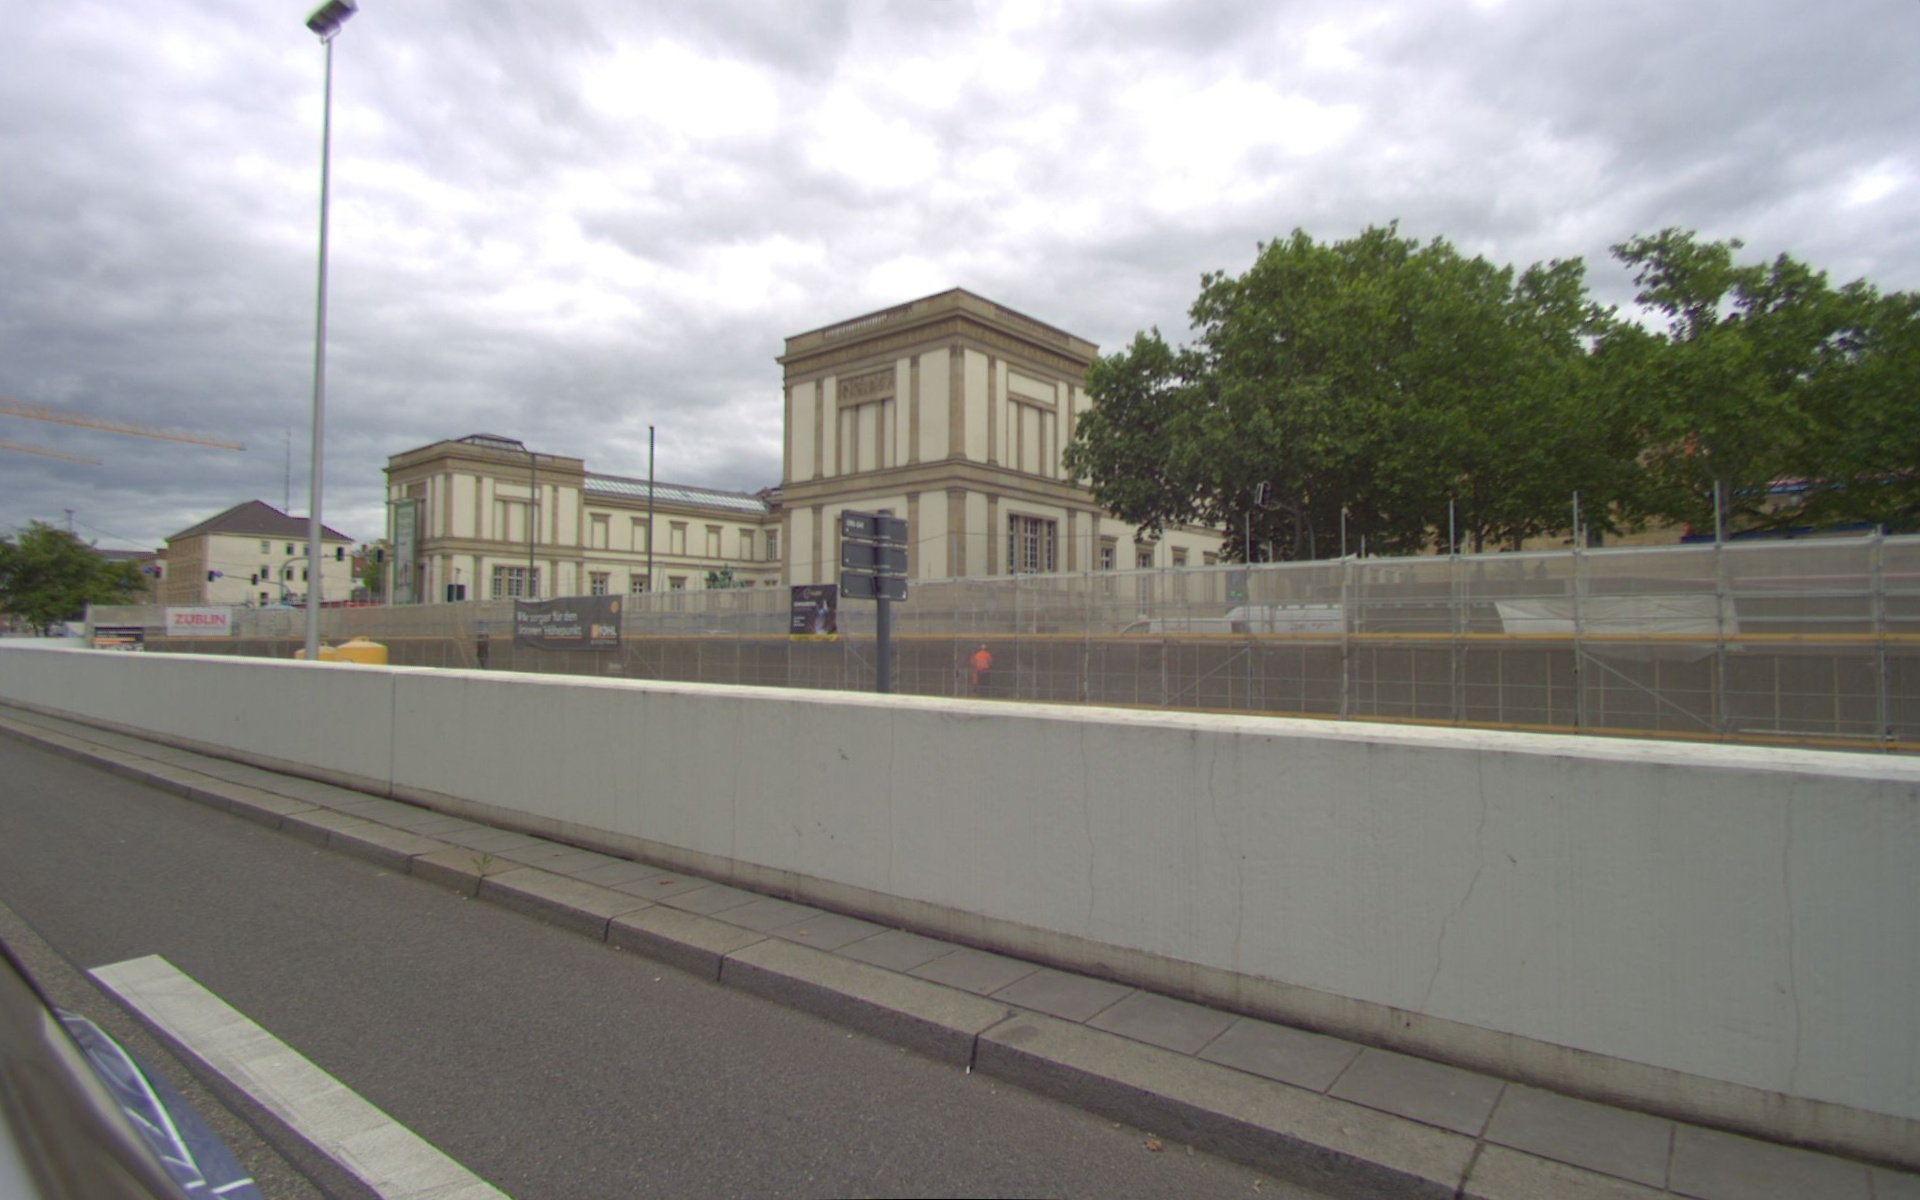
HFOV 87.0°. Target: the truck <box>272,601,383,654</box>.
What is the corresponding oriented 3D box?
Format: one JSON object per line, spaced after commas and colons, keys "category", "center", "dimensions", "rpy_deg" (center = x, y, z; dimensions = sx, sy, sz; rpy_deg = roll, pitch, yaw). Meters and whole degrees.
{"category": "truck", "center": [-53.161, 2.474, 84.701], "dimensions": [16.601, 4.114, 2.887], "rpy_deg": [-3, -4, 40]}
